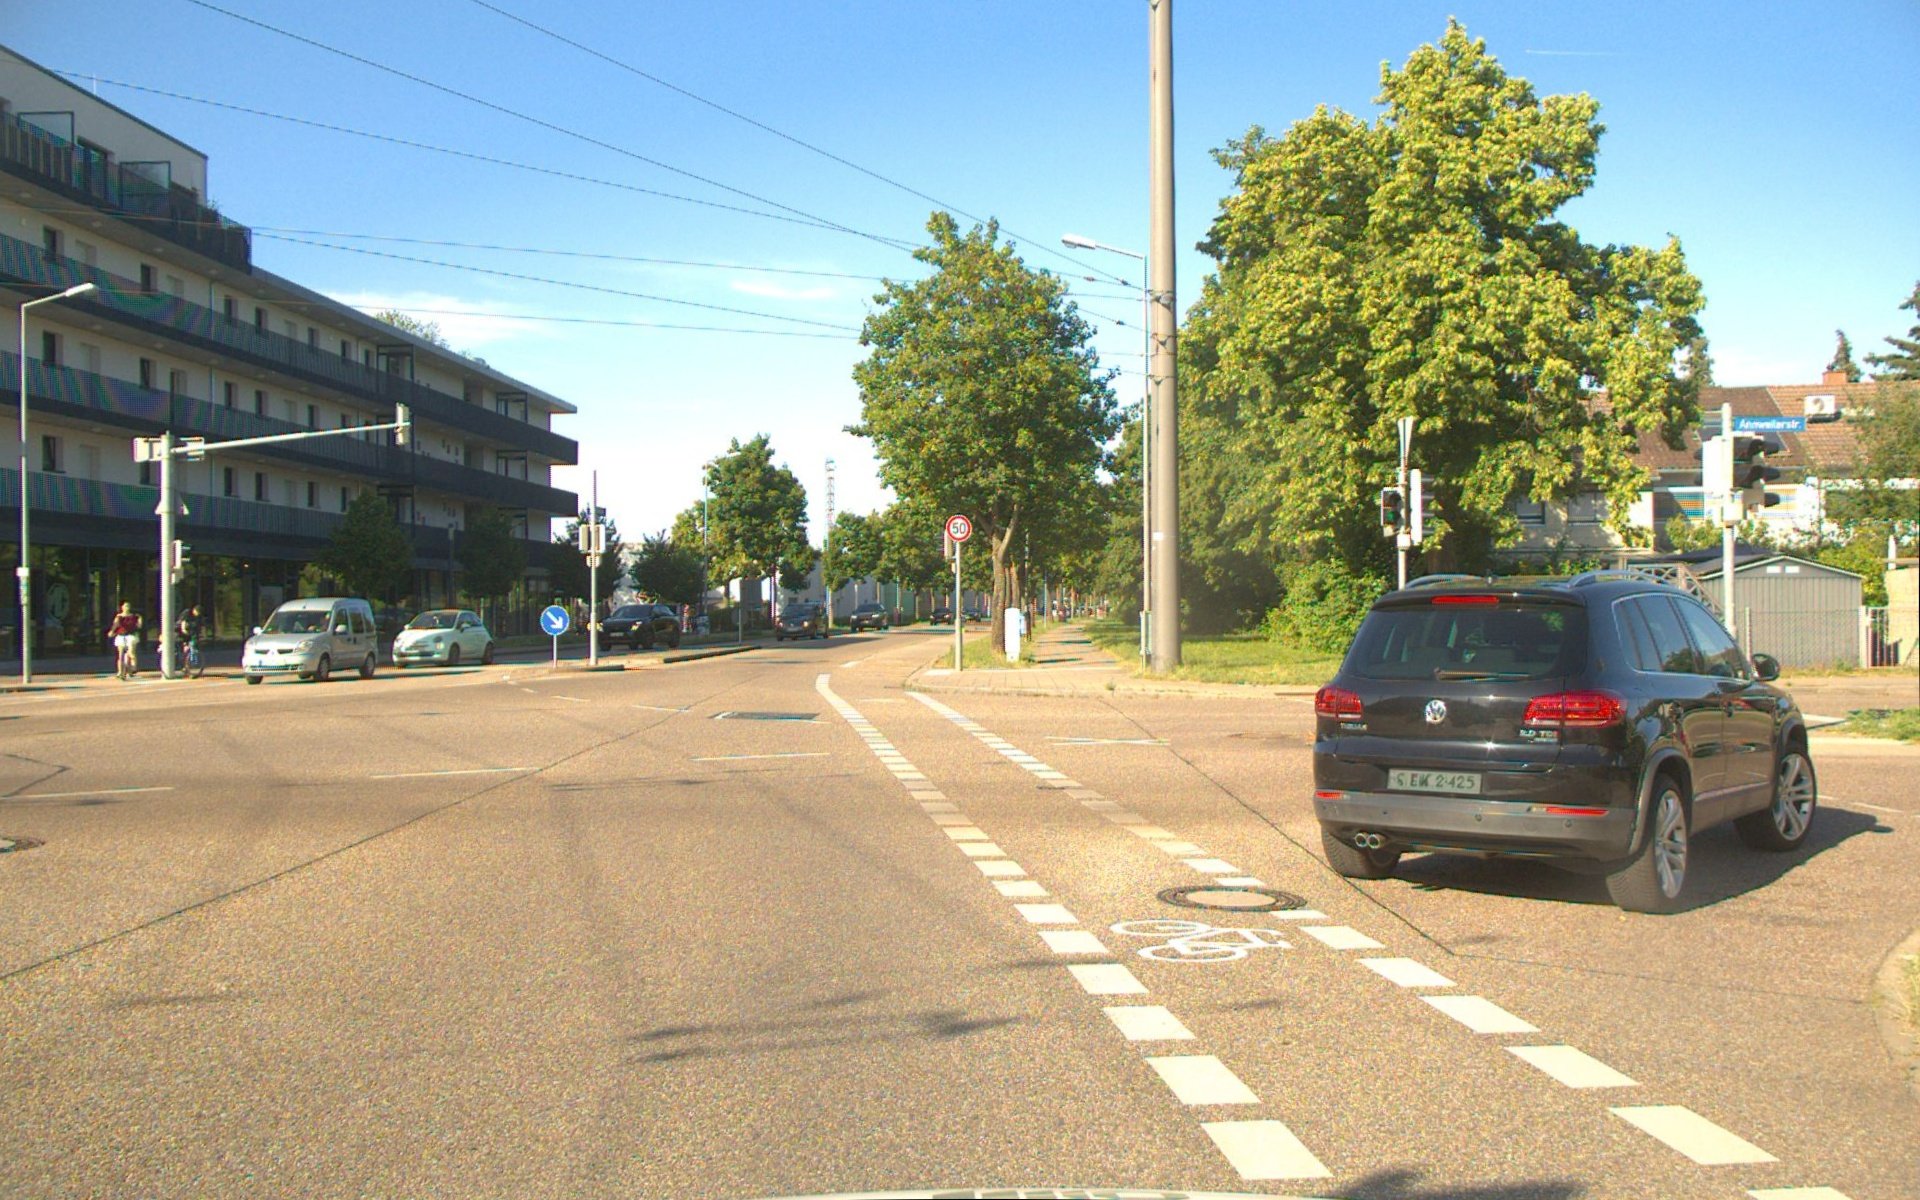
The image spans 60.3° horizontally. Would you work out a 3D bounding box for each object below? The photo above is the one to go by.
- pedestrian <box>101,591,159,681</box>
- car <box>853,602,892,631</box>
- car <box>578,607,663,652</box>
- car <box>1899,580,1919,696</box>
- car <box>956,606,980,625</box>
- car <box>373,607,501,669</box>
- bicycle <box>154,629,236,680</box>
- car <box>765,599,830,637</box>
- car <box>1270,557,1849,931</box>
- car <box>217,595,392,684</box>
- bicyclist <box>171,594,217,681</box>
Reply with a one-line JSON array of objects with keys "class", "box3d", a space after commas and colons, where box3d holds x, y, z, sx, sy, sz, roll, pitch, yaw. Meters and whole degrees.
[{"class": "pedestrian", "box3d": [-19.349, 0.831, 38.561, 0.957, 2.049, 0.760, -1, -1, -2]}, {"class": "car", "box3d": [-5.554, 1.016, 105.929, 1.952, 1.768, 5.201, -1, 0, 3]}, {"class": "car", "box3d": [-12.348, 1.041, 60.423, 1.926, 1.561, 4.742, -1, 0, 3]}, {"class": "car", "box3d": [15.423, 0.515, 22.585, 4.079, 1.616, 1.947, 0, 0, 5]}, {"class": "car", "box3d": [0.817, 1.488, 160.457, 1.855, 1.789, 4.003, 1, 0, 6]}, {"class": "car", "box3d": [-14.106, 0.994, 44.824, 1.951, 1.513, 3.546, -3, 0, 7]}, {"class": "bicycle", "box3d": [-18.280, 1.306, 39.531, 1.607, 1.164, 0.743, -1, 0, -9]}, {"class": "car", "box3d": [-7.205, 0.774, 73.610, 1.951, 1.599, 4.003, -1, 0, 9]}, {"class": "car", "box3d": [3.761, 0.647, 9.816, 1.899, 1.683, 4.492, 1, 0, 39]}, {"class": "car", "box3d": [-14.050, 0.810, 35.739, 1.952, 1.786, 4.362, -1, 0, 1]}, {"class": "bicyclist", "box3d": [-18.305, 0.885, 39.533, 0.777, 2.049, 0.810, -1, 0, -8]}]
